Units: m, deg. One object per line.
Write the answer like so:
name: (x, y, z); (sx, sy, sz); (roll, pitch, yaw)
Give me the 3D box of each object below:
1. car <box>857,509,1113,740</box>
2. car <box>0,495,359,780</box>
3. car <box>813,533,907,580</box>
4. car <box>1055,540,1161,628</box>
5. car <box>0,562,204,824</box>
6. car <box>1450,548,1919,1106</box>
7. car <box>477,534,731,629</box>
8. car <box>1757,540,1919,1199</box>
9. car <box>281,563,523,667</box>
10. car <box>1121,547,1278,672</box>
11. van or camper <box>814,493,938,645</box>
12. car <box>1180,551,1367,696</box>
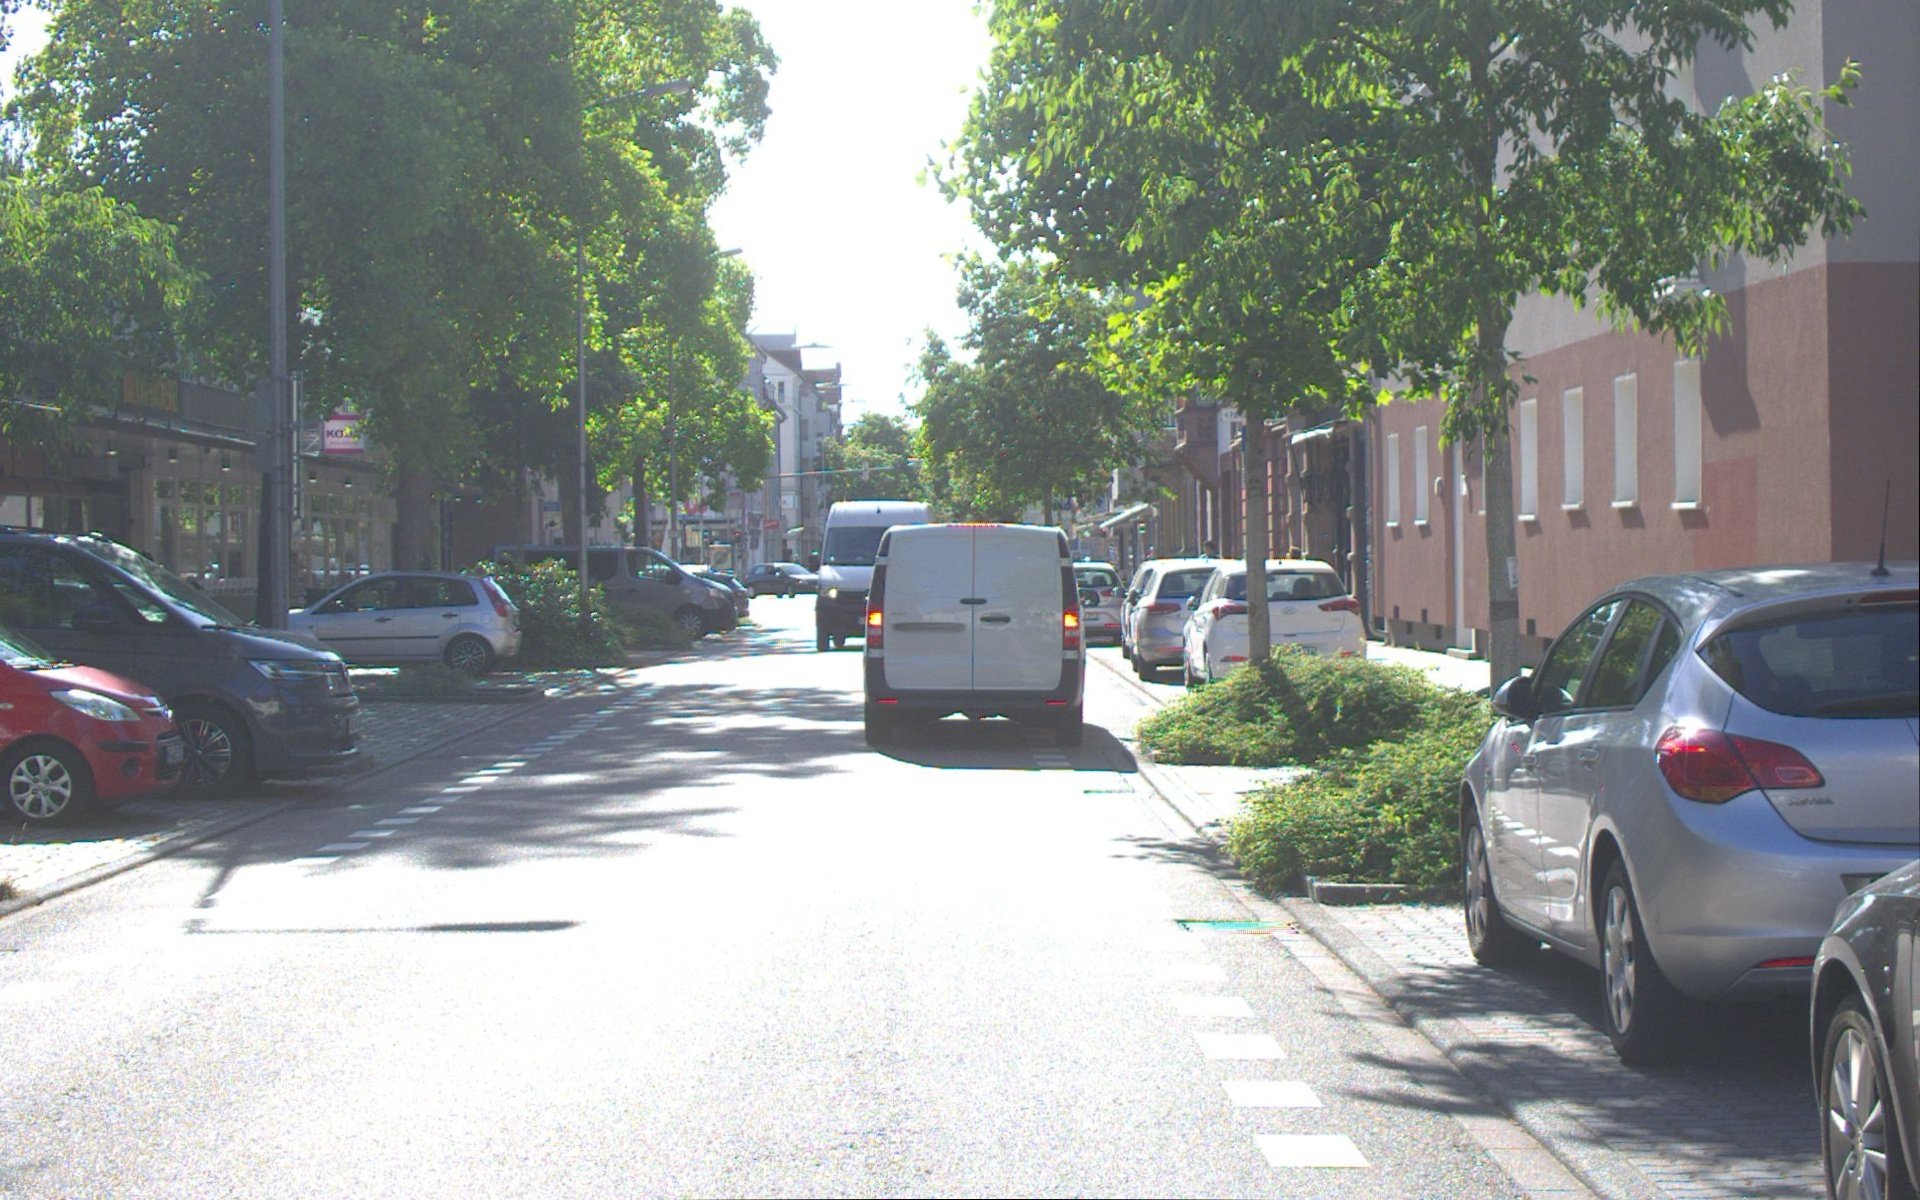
car: (0.164, 0.146, 31.221); (2.101, 1.901, 5.425); (-1, 1, -1)
car: (-7.066, 0.252, 24.709); (5.212, 1.974, 1.662); (0, 1, -1)
car: (-4.397, -1.923, 151.136); (3.986, 2.007, 2.000); (-1, 1, -4)
car: (2.626, -0.309, 61.576); (1.740, 1.514, 3.858); (-1, 1, 0)
car: (-7.367, 0.576, 22.158); (4.626, 1.605, 1.662); (0, 1, -1)
car: (2.764, 0.596, 11.373); (1.740, 1.514, 3.858); (-1, 1, 0)
car: (-7.484, -0.402, 72.597); (5.212, 1.974, 1.662); (0, 1, -1)
car: (2.653, 0.642, 5.401); (1.783, 1.514, 4.309); (-2, 1, 0)
car: (-7.713, 0.192, 47.702); (3.099, 1.404, 1.662); (0, 1, -1)
car: (3.023, 0.083, 44.023); (1.740, 1.514, 3.858); (-1, 1, 0)
van or camper: (-1.404, -0.562, 59.685); (1.993, 2.467, 5.820); (-1, 1, 0)
car: (3.442, 0.220, 38.302); (1.740, 1.514, 3.858); (-1, 1, 0)
